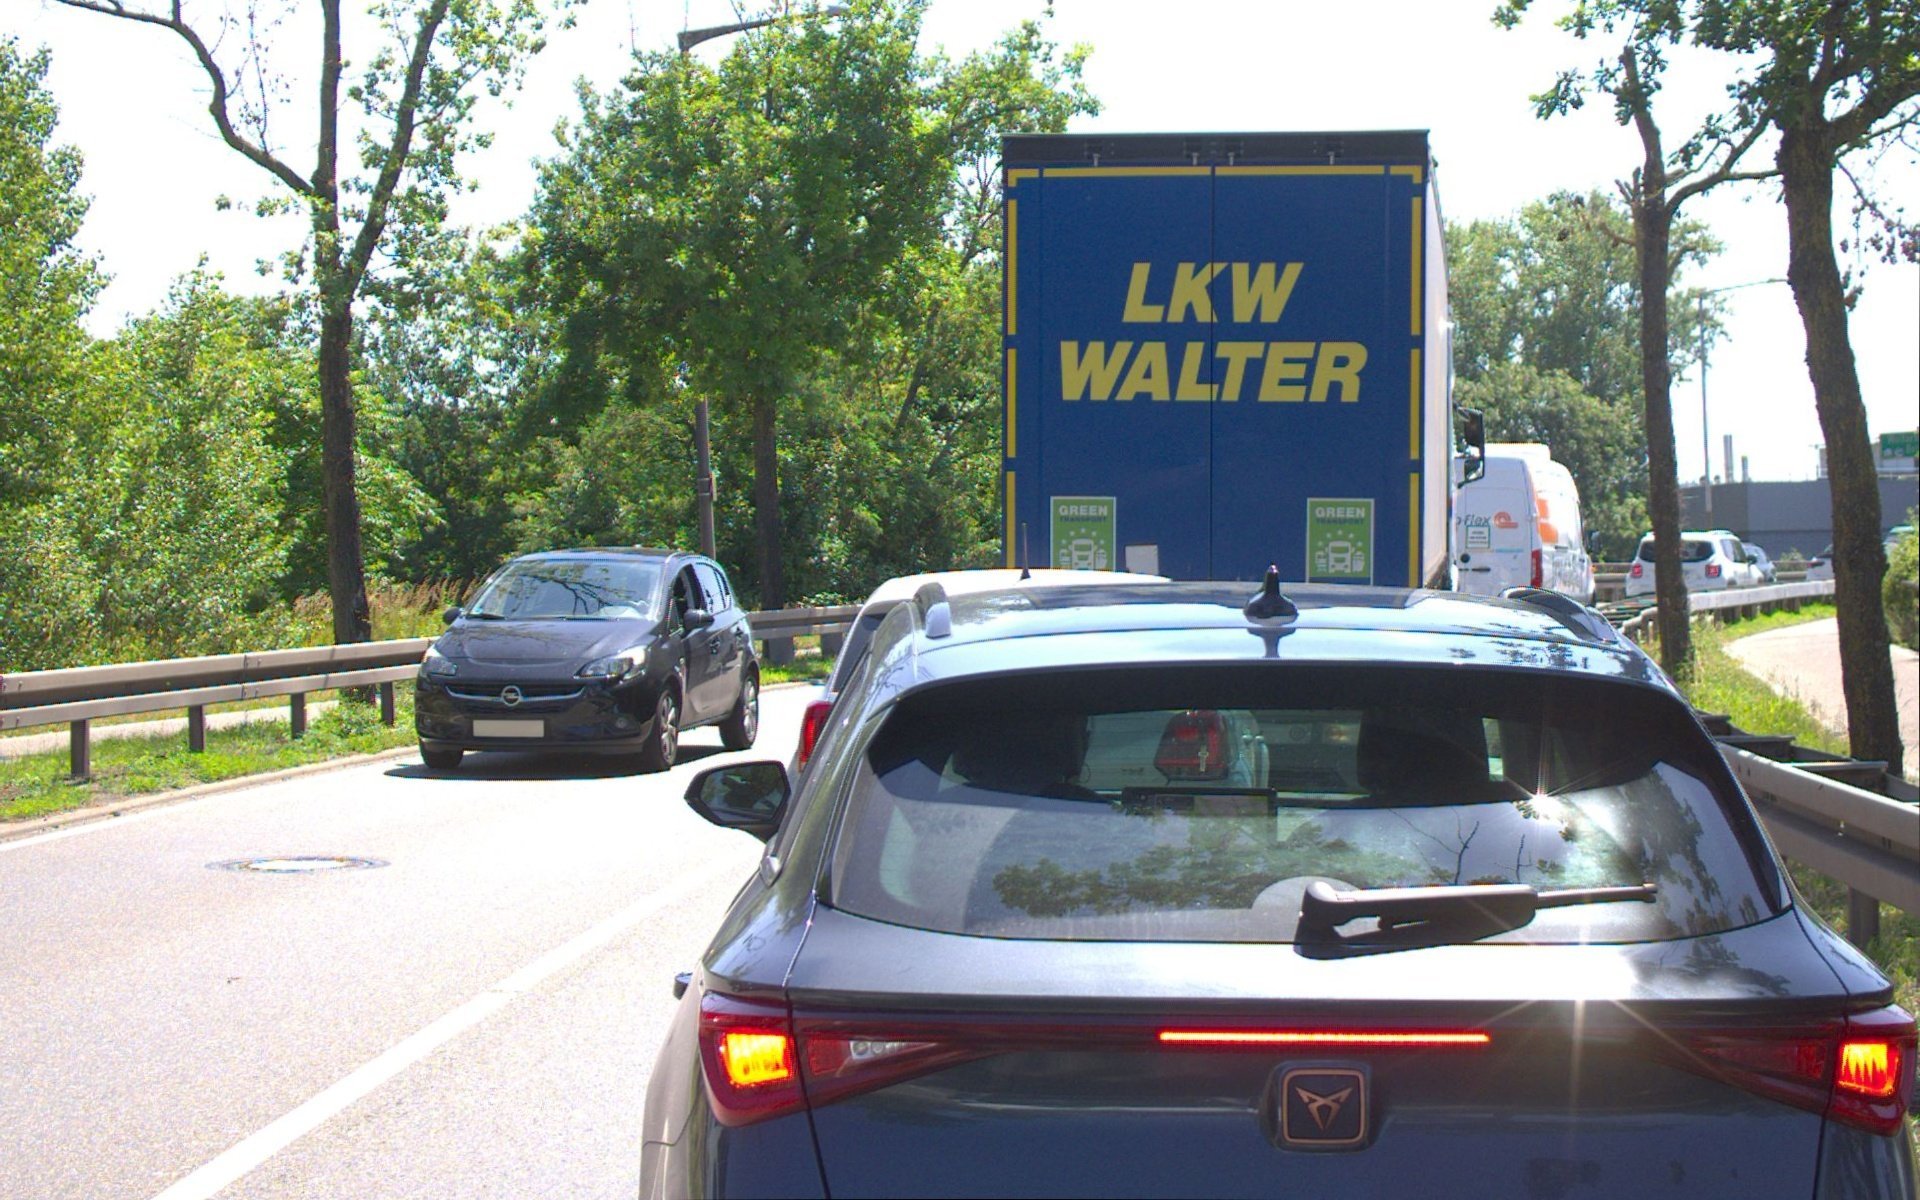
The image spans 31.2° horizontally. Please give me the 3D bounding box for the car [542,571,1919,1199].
[{"bbox_3d":[0.417,0.690,5.624,1.744,1.427,3.880,1,1,0],"label":"car"}]

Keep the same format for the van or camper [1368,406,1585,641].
[{"bbox_3d":[7.145,-1.023,46.972,2.468,2.988,6.083,1,1,13],"label":"van or camper"}]

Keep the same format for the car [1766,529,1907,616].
[{"bbox_3d":[19.110,-0.606,74.806,1.996,1.802,4.839,1,1,26],"label":"car"}]

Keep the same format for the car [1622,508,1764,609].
[{"bbox_3d":[13.108,-0.746,61.271,1.995,1.706,4.616,1,1,18],"label":"car"}]

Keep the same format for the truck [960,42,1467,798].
[{"bbox_3d":[2.708,-1.182,28.698,2.951,4.433,16.793,1,1,8],"label":"truck"}]

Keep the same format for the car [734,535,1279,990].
[{"bbox_3d":[0.197,0.515,13.537,1.809,1.503,4.000,1,1,1],"label":"car"}]

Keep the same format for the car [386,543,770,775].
[{"bbox_3d":[-2.563,0.348,23.917,1.671,1.461,3.818,1,1,9],"label":"car"}]
